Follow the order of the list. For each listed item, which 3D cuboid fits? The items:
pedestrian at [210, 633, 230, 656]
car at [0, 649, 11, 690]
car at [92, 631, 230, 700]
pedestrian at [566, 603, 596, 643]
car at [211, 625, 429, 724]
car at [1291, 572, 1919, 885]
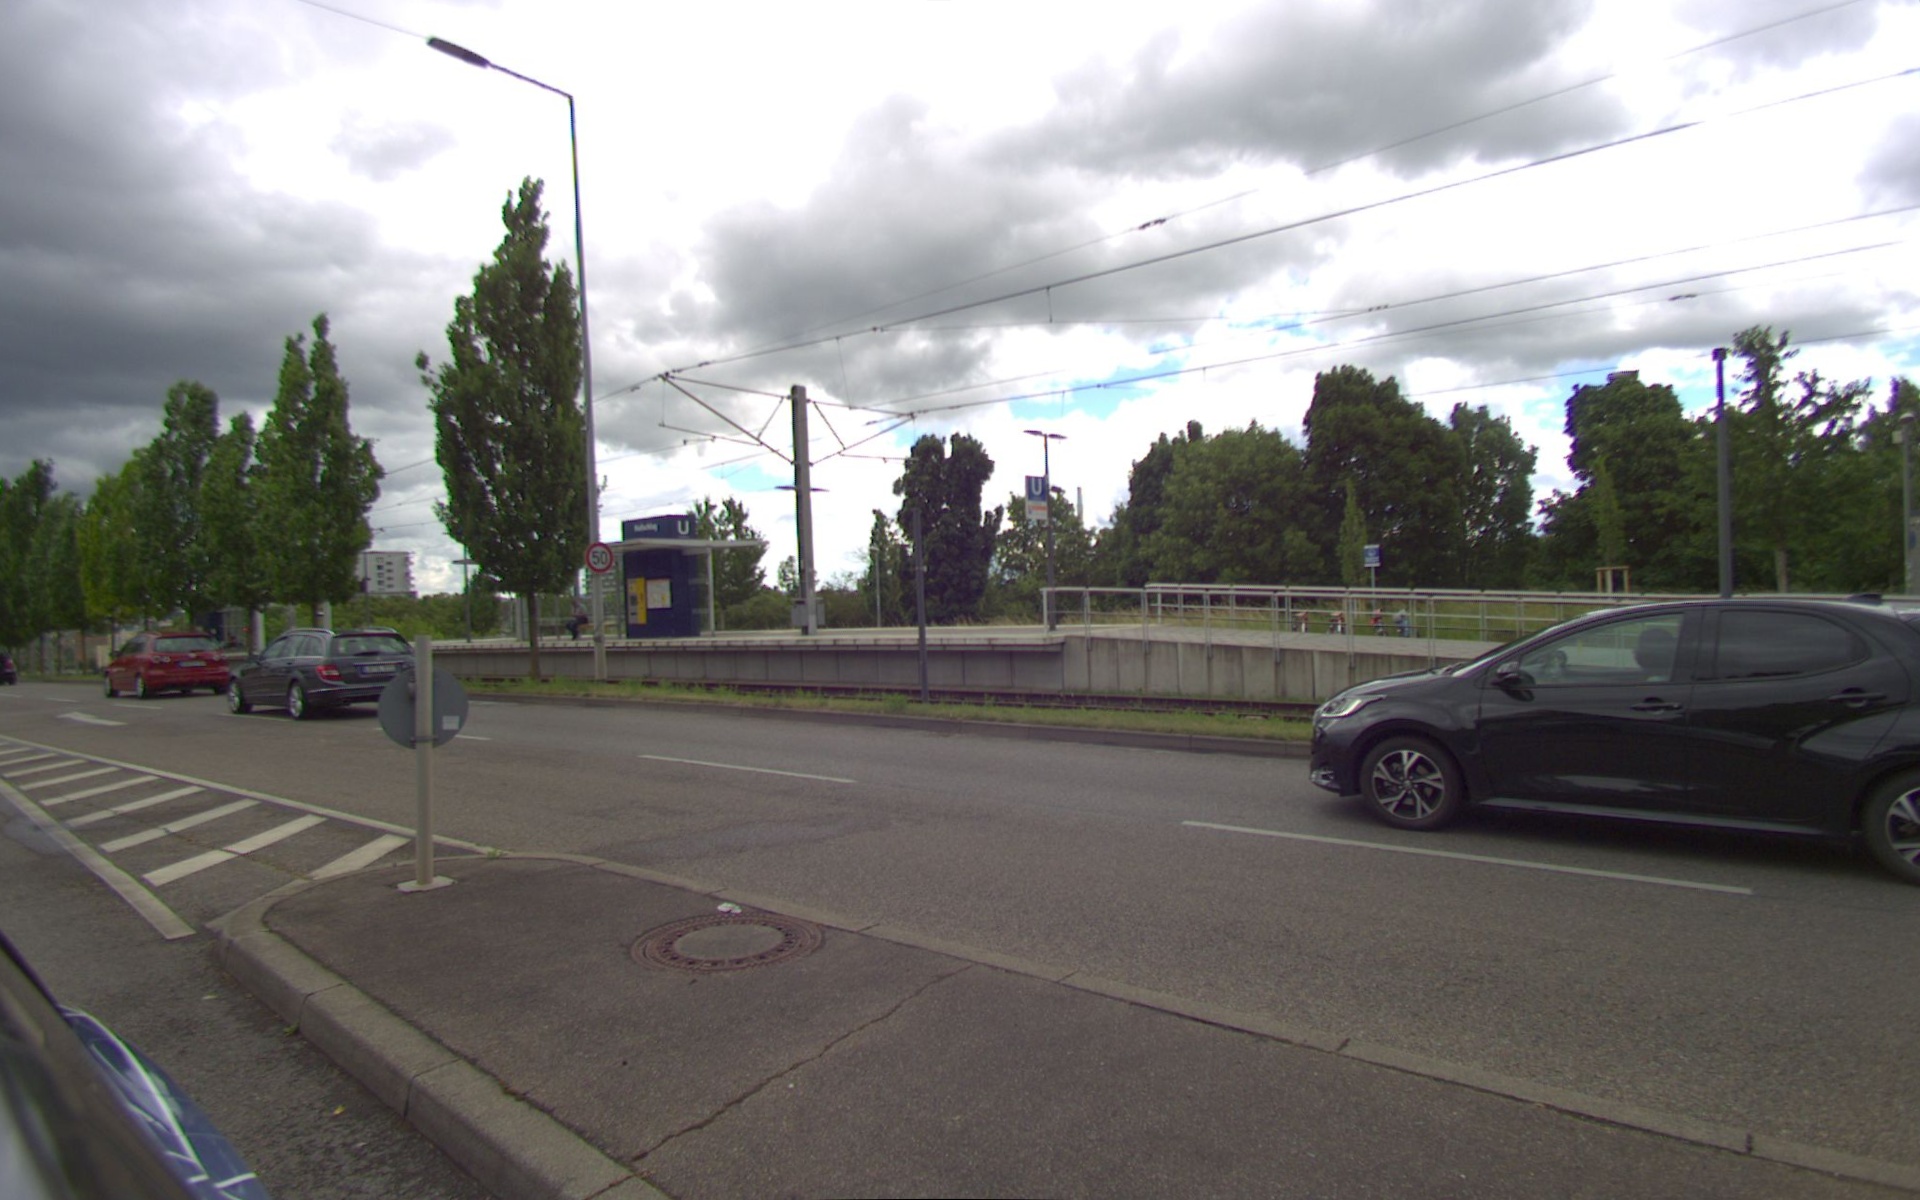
[{"bbox_3d":[-40.944,2.449,55.991,0.665,1.208,0.753,-4,-3,40],"label":"pedestrian"},{"bbox_3d":[-38.845,2.777,39.916,3.705,1.585,1.707,-3,-2,41],"label":"car"},{"bbox_3d":[-19.530,1.580,24.692,4.080,1.499,1.687,-3,-2,37],"label":"car"},{"bbox_3d":[-12.372,0.748,33.021,0.658,1.279,0.604,-6,-3,37],"label":"pedestrian"},{"bbox_3d":[-11.046,1.198,17.352,4.538,1.450,1.675,-2,-1,37],"label":"car"},{"bbox_3d":[4.279,0.635,6.228,3.936,1.507,1.577,-2,0,41],"label":"car"}]
